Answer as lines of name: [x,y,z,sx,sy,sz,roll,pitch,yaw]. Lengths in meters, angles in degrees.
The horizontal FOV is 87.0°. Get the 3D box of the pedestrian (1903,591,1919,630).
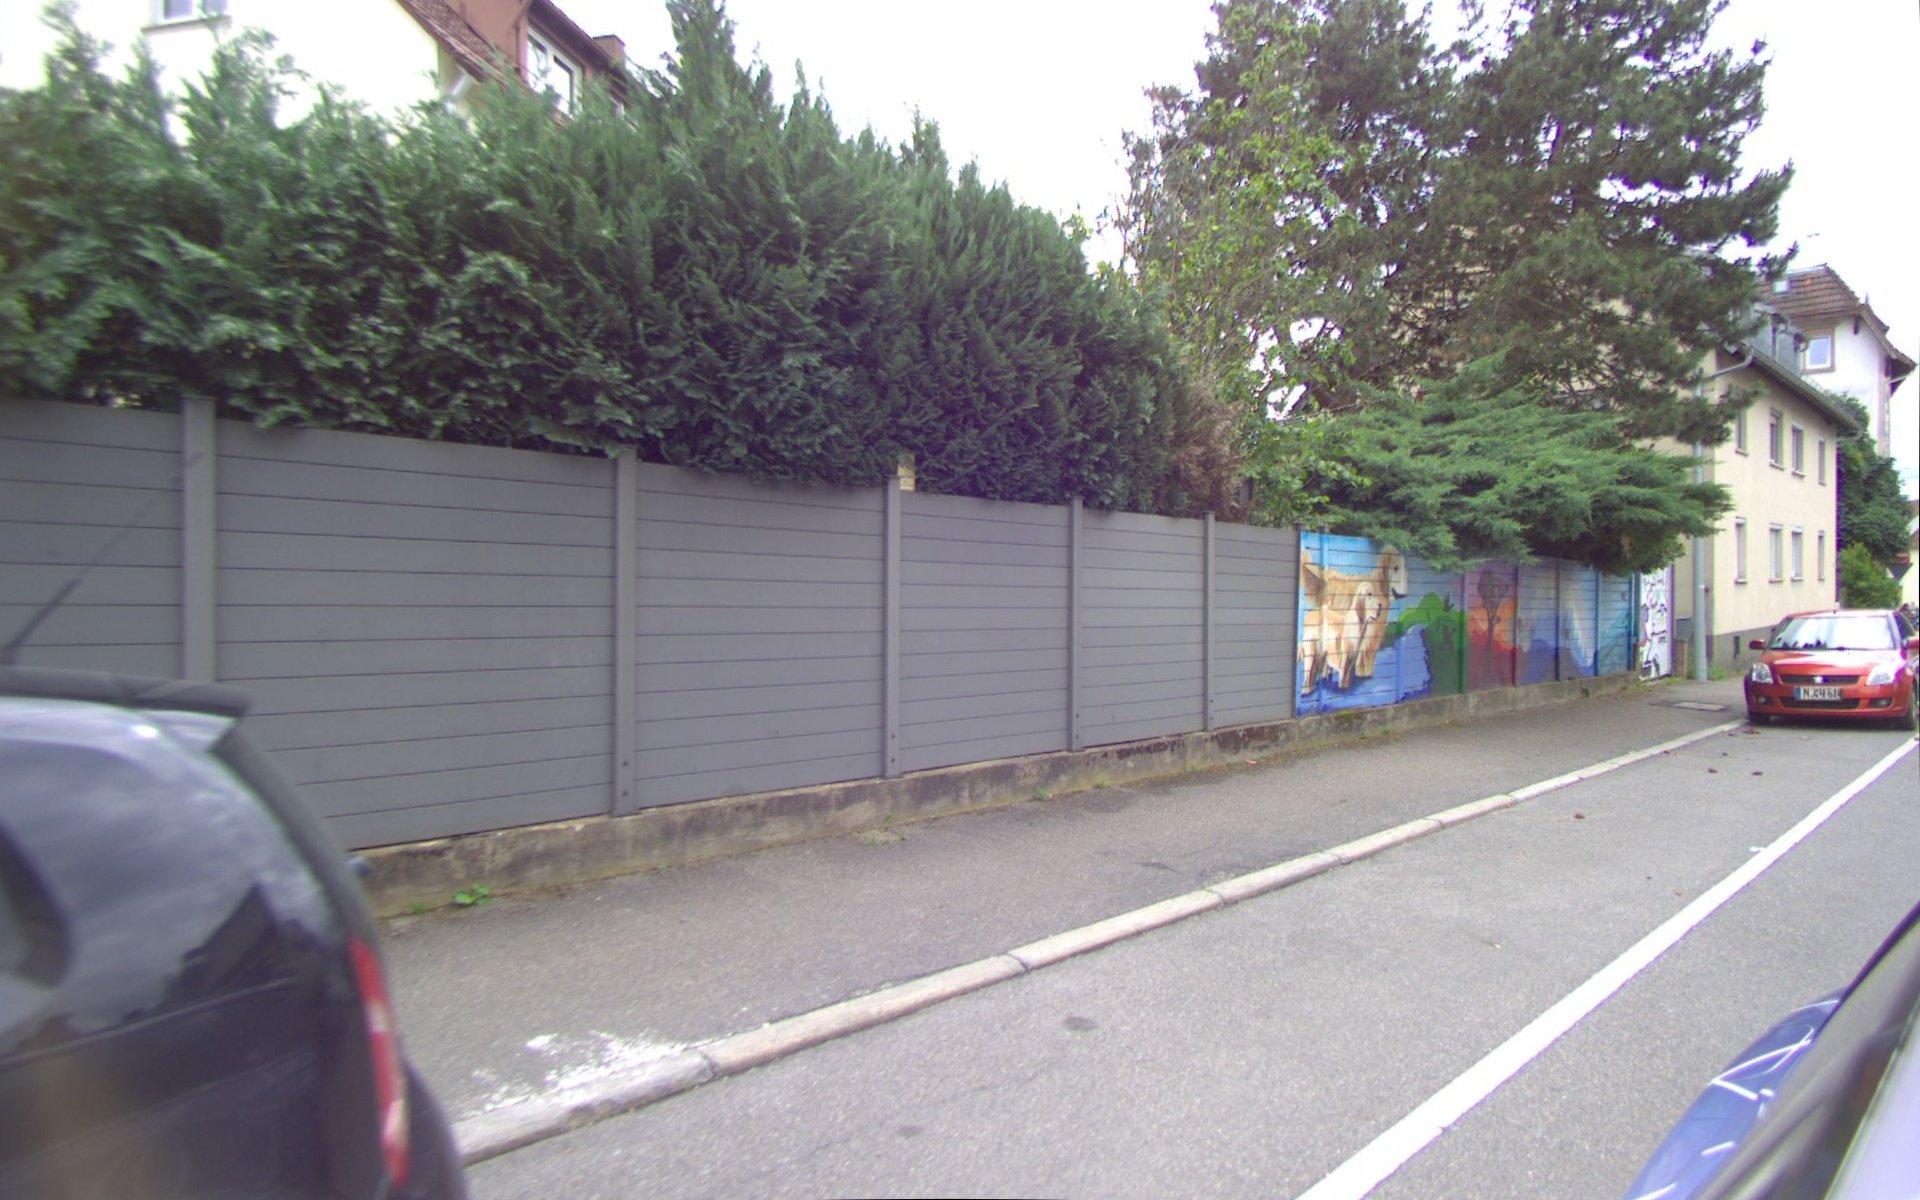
pedestrian: [42.843,0.480,45.243,0.856,1.755,1.008,0,-2,37]

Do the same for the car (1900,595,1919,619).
car: [74.164,0.534,77.910,1.707,1.753,3.958,0,-1,29]

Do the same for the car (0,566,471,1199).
car: [-2.631,0.699,0.549,3.934,1.470,1.760,-1,1,-44]

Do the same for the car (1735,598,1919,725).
car: [12.172,0.731,13.811,3.930,1.470,1.761,0,-1,-41]
